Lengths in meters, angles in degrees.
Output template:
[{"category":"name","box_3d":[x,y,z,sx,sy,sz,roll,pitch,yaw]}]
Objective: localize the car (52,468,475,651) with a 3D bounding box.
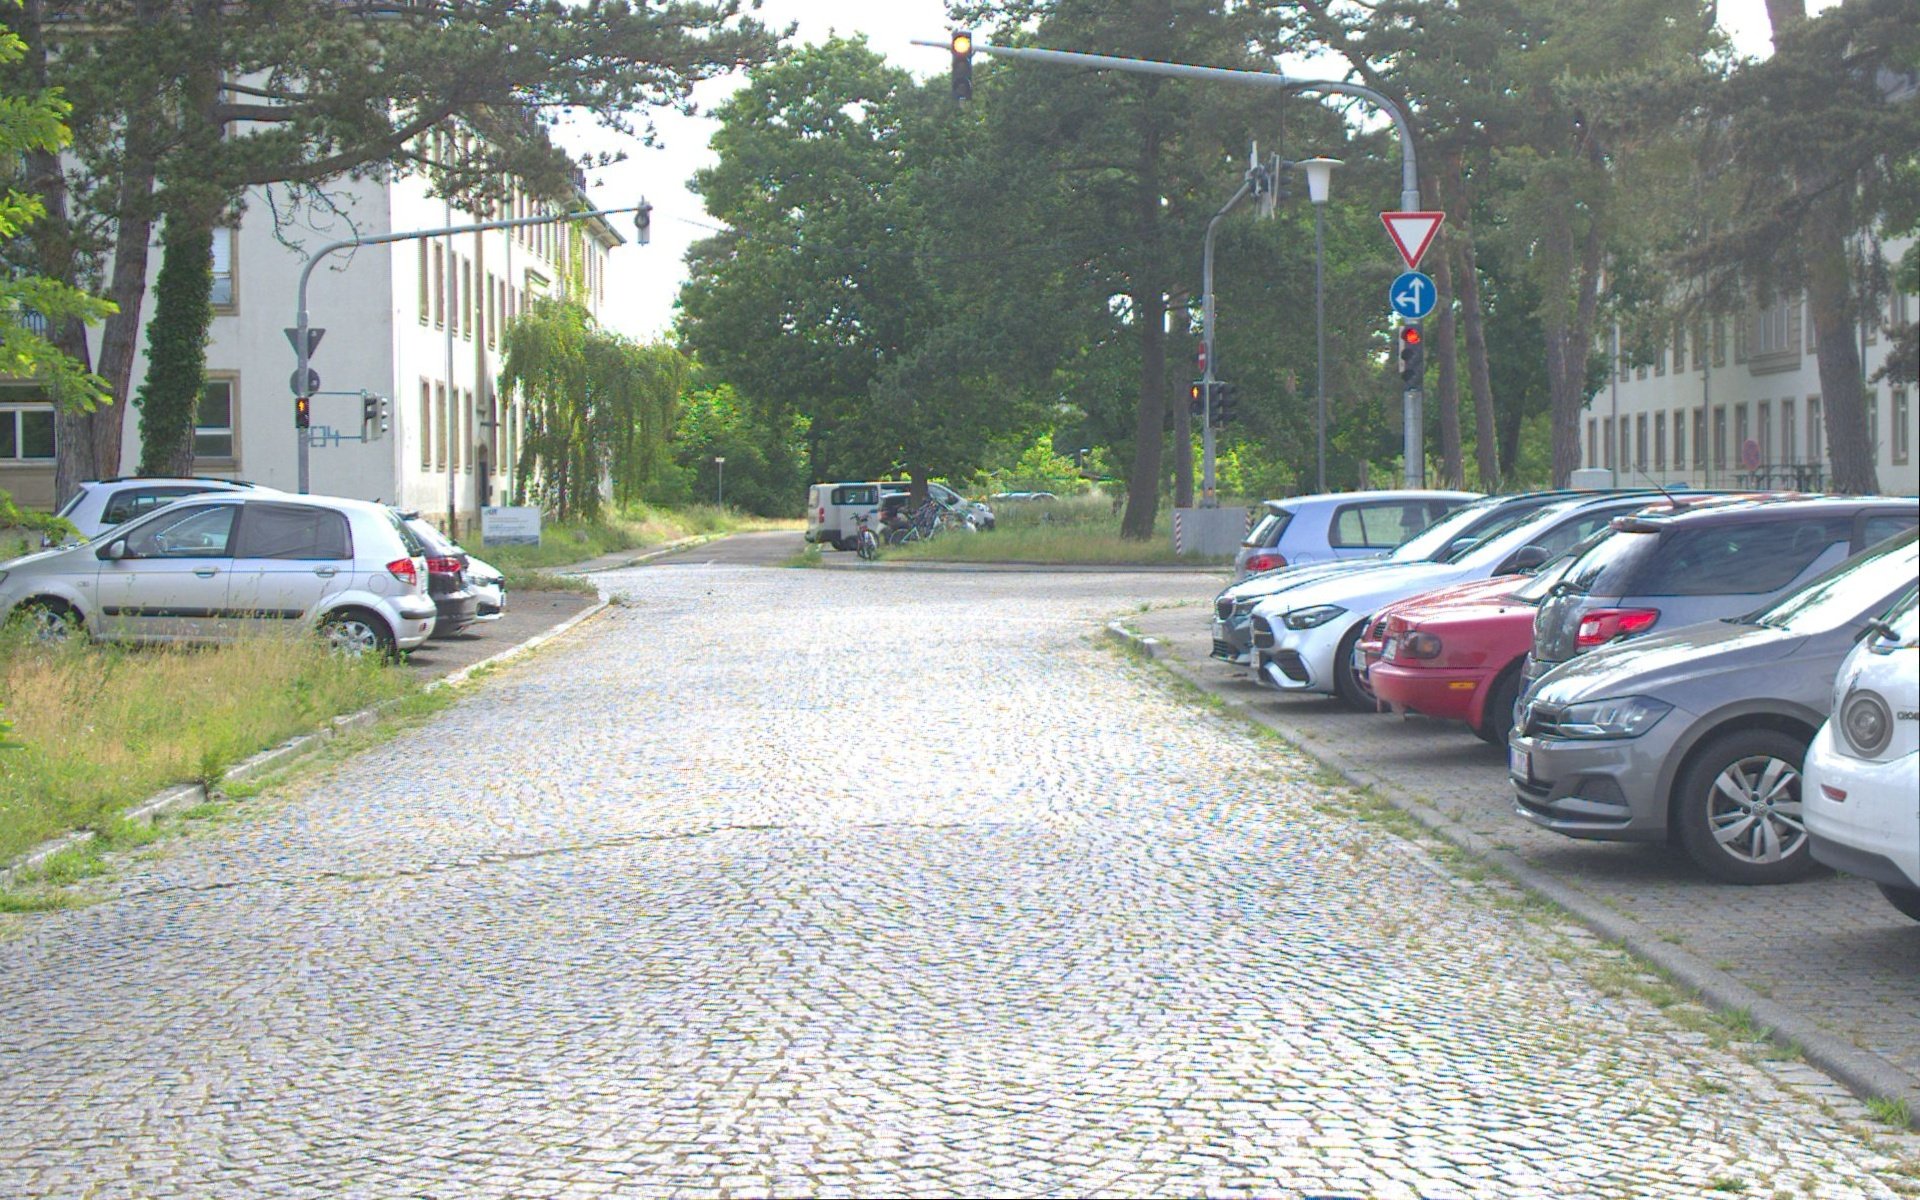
[{"category":"car","box_3d":[-6.825,-0.428,34.029,3.986,1.744,1.928,0,2,-8]}]

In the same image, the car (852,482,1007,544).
[{"category":"car","box_3d":[-0.846,-2.364,93.027,3.986,1.638,2.001,0,2,-7]}]

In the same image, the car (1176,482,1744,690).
[{"category":"car","box_3d":[3.891,-0.143,27.051,4.122,1.538,1.665,-1,2,-7]}]

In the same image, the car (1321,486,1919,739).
[{"category":"car","box_3d":[4.459,0.040,22.017,3.986,1.538,1.664,0,2,-7]}]

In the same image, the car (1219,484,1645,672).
[{"category":"car","box_3d":[4.040,-0.212,29.625,3.388,1.538,1.391,-1,2,-7]}]

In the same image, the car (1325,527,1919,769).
[{"category":"car","box_3d":[3.906,0.242,19.761,3.291,1.263,1.665,-1,2,-7]}]

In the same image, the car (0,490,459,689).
[{"category":"car","box_3d":[-6.203,-0.123,28.574,3.986,1.546,2.001,-1,2,-8]}]

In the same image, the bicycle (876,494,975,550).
[{"category":"bicycle","box_3d":[-0.795,-1.792,78.486,2.160,1.264,0.813,0,2,-8]}]

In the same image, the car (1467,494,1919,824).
[{"category":"car","box_3d":[4.369,0.234,17.054,3.291,1.499,1.665,-1,2,-12]}]

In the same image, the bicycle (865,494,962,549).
[{"category":"bicycle","box_3d":[-1.091,-1.833,80.280,2.160,1.264,0.813,0,2,-8]}]

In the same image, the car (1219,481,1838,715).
[{"category":"car","box_3d":[3.956,-0.050,24.236,3.986,1.538,1.665,-1,2,-7]}]

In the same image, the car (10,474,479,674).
[{"category":"car","box_3d":[-6.377,-0.272,31.063,3.986,1.700,2.001,-1,2,-8]}]

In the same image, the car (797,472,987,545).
[{"category":"car","box_3d":[-1.913,-2.579,96.276,5.049,2.006,2.001,0,2,-12]}]

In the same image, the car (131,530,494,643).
[{"category":"car","box_3d":[-6.771,-0.157,36.268,3.670,1.090,1.647,-1,2,-8]}]

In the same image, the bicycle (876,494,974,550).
[{"category":"bicycle","box_3d":[-0.817,-1.805,79.073,2.160,1.264,0.813,0,2,-8]}]

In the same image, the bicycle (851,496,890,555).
[{"category":"bicycle","box_3d":[-1.935,-1.629,74.701,0.810,1.264,1.973,0,2,-1]}]

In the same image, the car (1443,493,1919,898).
[{"category":"car","box_3d":[3.985,0.319,14.166,3.597,1.501,1.665,-1,2,-12]}]

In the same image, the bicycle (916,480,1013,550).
[{"category":"bicycle","box_3d":[0.092,-1.981,79.800,2.160,1.610,0.813,0,2,-8]}]

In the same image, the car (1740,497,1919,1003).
[{"category":"car","box_3d":[4.404,0.411,11.212,3.292,1.499,1.664,-1,2,-4]}]
